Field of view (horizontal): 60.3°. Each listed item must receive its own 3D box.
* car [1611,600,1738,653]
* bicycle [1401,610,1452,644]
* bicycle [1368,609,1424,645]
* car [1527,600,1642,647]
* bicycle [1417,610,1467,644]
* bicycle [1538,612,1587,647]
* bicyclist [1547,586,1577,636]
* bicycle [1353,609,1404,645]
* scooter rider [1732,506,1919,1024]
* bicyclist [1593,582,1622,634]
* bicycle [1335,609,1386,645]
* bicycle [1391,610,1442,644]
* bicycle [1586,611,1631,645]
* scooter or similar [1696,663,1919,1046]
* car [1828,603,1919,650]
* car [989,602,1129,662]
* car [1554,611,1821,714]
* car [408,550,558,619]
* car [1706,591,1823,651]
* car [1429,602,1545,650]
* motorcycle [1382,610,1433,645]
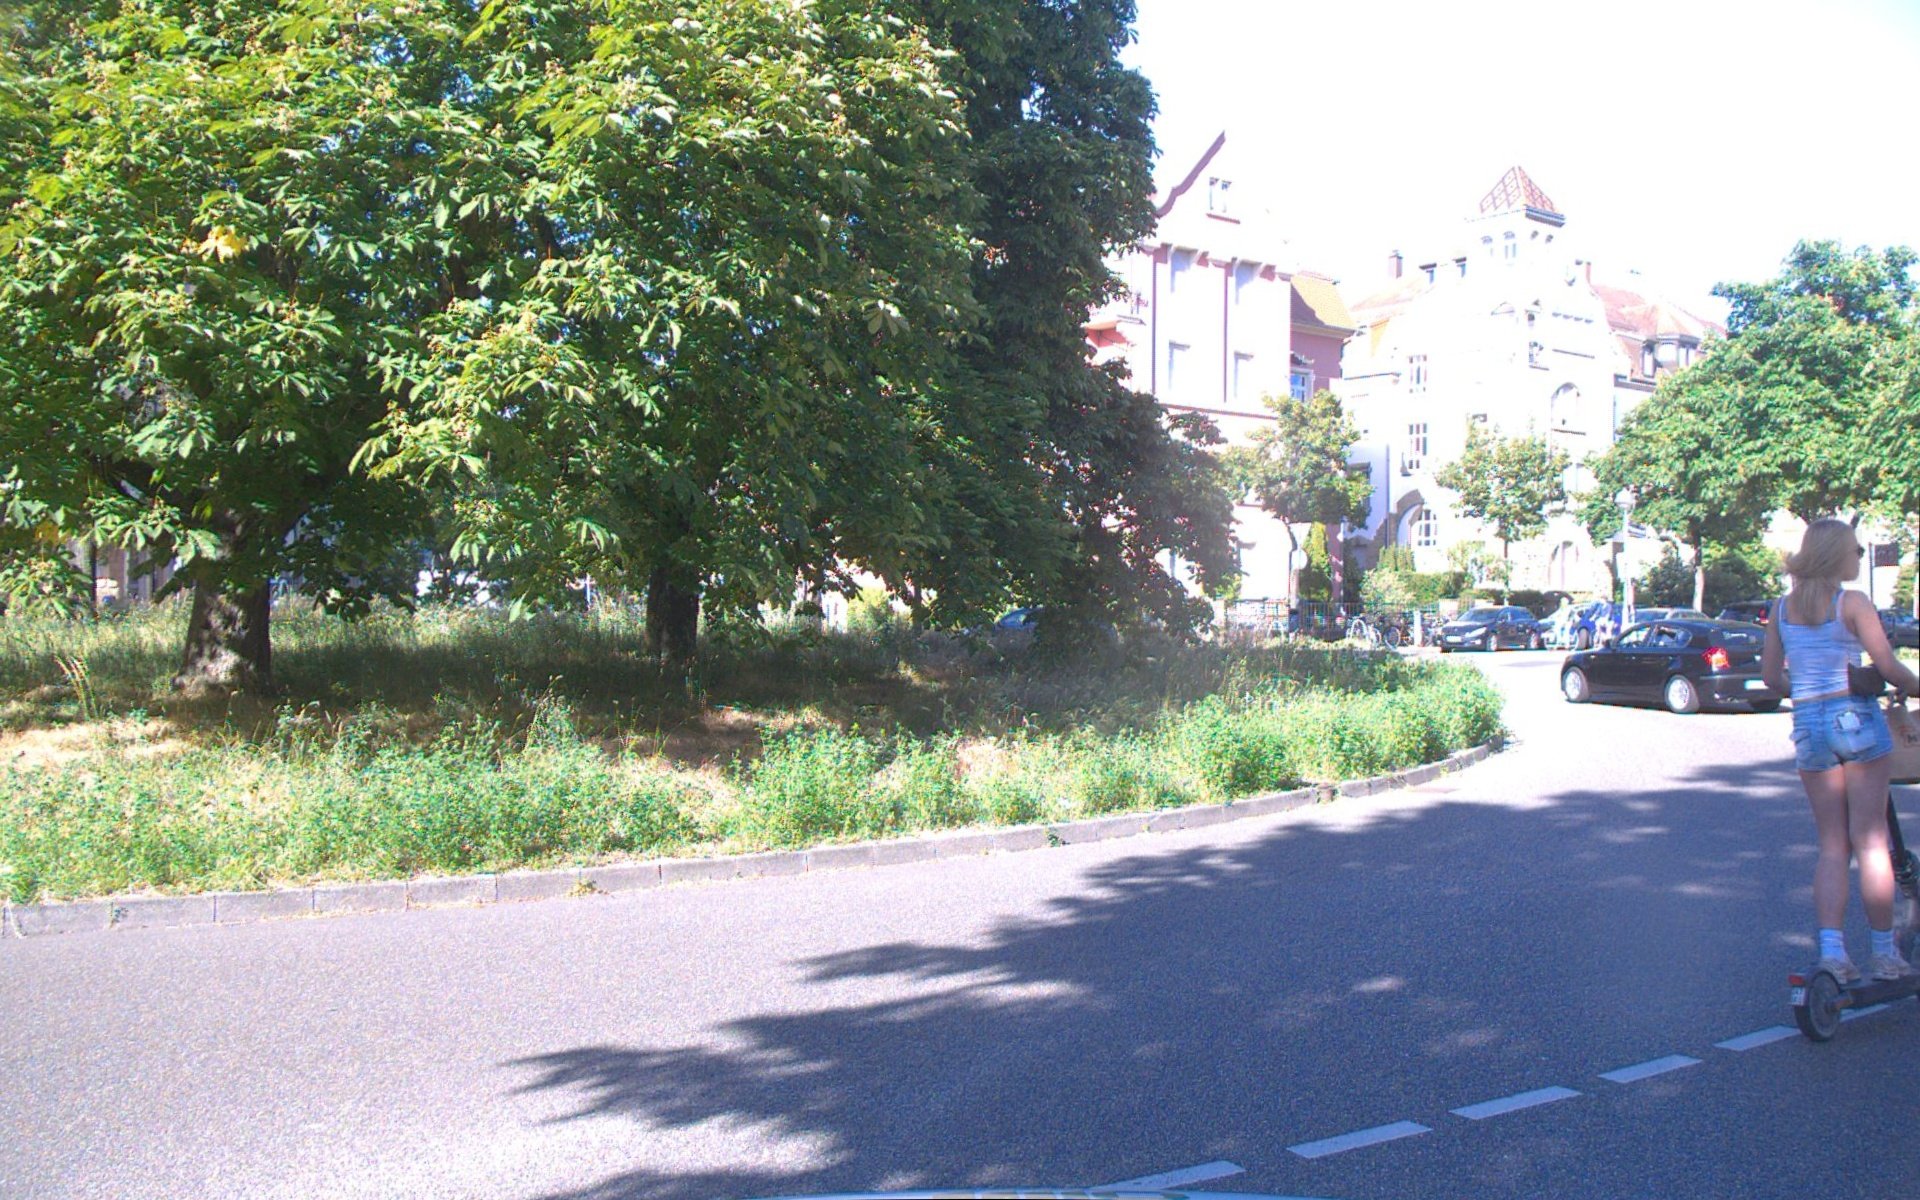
[{"bbox_3d":[20.657,0.738,47.744,4.302,1.440,1.782,0,0,-43],"label":"car"},{"bbox_3d":[16.416,0.940,58.230,0.496,1.126,1.702,0,2,-40],"label":"bicycle"},{"bbox_3d":[15.039,0.921,57.042,1.794,1.126,0.499,2,2,37],"label":"bicycle"},{"bbox_3d":[22.111,0.821,58.488,4.354,1.589,1.785,0,-2,-39],"label":"car"},{"bbox_3d":[17.161,0.936,58.881,0.511,1.126,1.702,0,2,-40],"label":"bicycle"},{"bbox_3d":[19.640,0.960,53.909,1.843,1.127,0.588,0,-1,-38],"label":"bicycle"},{"bbox_3d":[19.630,0.361,53.913,0.796,1.609,0.588,0,-1,-37],"label":"bicyclist"},{"bbox_3d":[14.299,0.917,56.524,0.540,1.134,1.704,0,2,-37],"label":"bicycle"},{"bbox_3d":[3.450,0.593,6.389,0.624,1.864,0.618,0,0,-33],"label":"scooter rider"},{"bbox_3d":[21.871,0.273,55.834,0.715,1.745,0.637,1,-2,-37],"label":"bicyclist"},{"bbox_3d":[13.550,0.895,55.975,0.540,1.134,1.704,0,2,-37],"label":"bicycle"},{"bbox_3d":[15.961,0.940,57.859,0.497,1.126,1.699,0,2,-44],"label":"bicycle"},{"bbox_3d":[21.884,0.950,55.825,1.699,1.127,0.637,1,-1,-38],"label":"bicycle"},{"bbox_3d":[3.447,0.916,6.388,1.092,1.305,0.625,0,0,-33],"label":"scooter or similar"},{"bbox_3d":[31.038,0.877,55.330,4.288,1.499,1.788,0,0,-35],"label":"car"},{"bbox_3d":[2.650,0.830,45.103,1.807,1.559,3.952,0,0,-34],"label":"car"},{"bbox_3d":[11.422,0.923,26.291,1.833,1.444,3.985,-1,0,-14],"label":"car"},{"bbox_3d":[-19.232,-0.638,66.607,6.240,2.646,2.098,1,0,32],"label":"car"},{"bbox_3d":[24.647,0.621,50.620,4.302,1.758,1.782,0,0,-43],"label":"car"},{"bbox_3d":[17.567,0.844,55.030,4.303,1.509,1.781,0,-2,-43],"label":"car"},{"bbox_3d":[15.542,0.944,57.485,0.497,1.126,1.699,0,2,-44],"label":"motorcycle"}]
